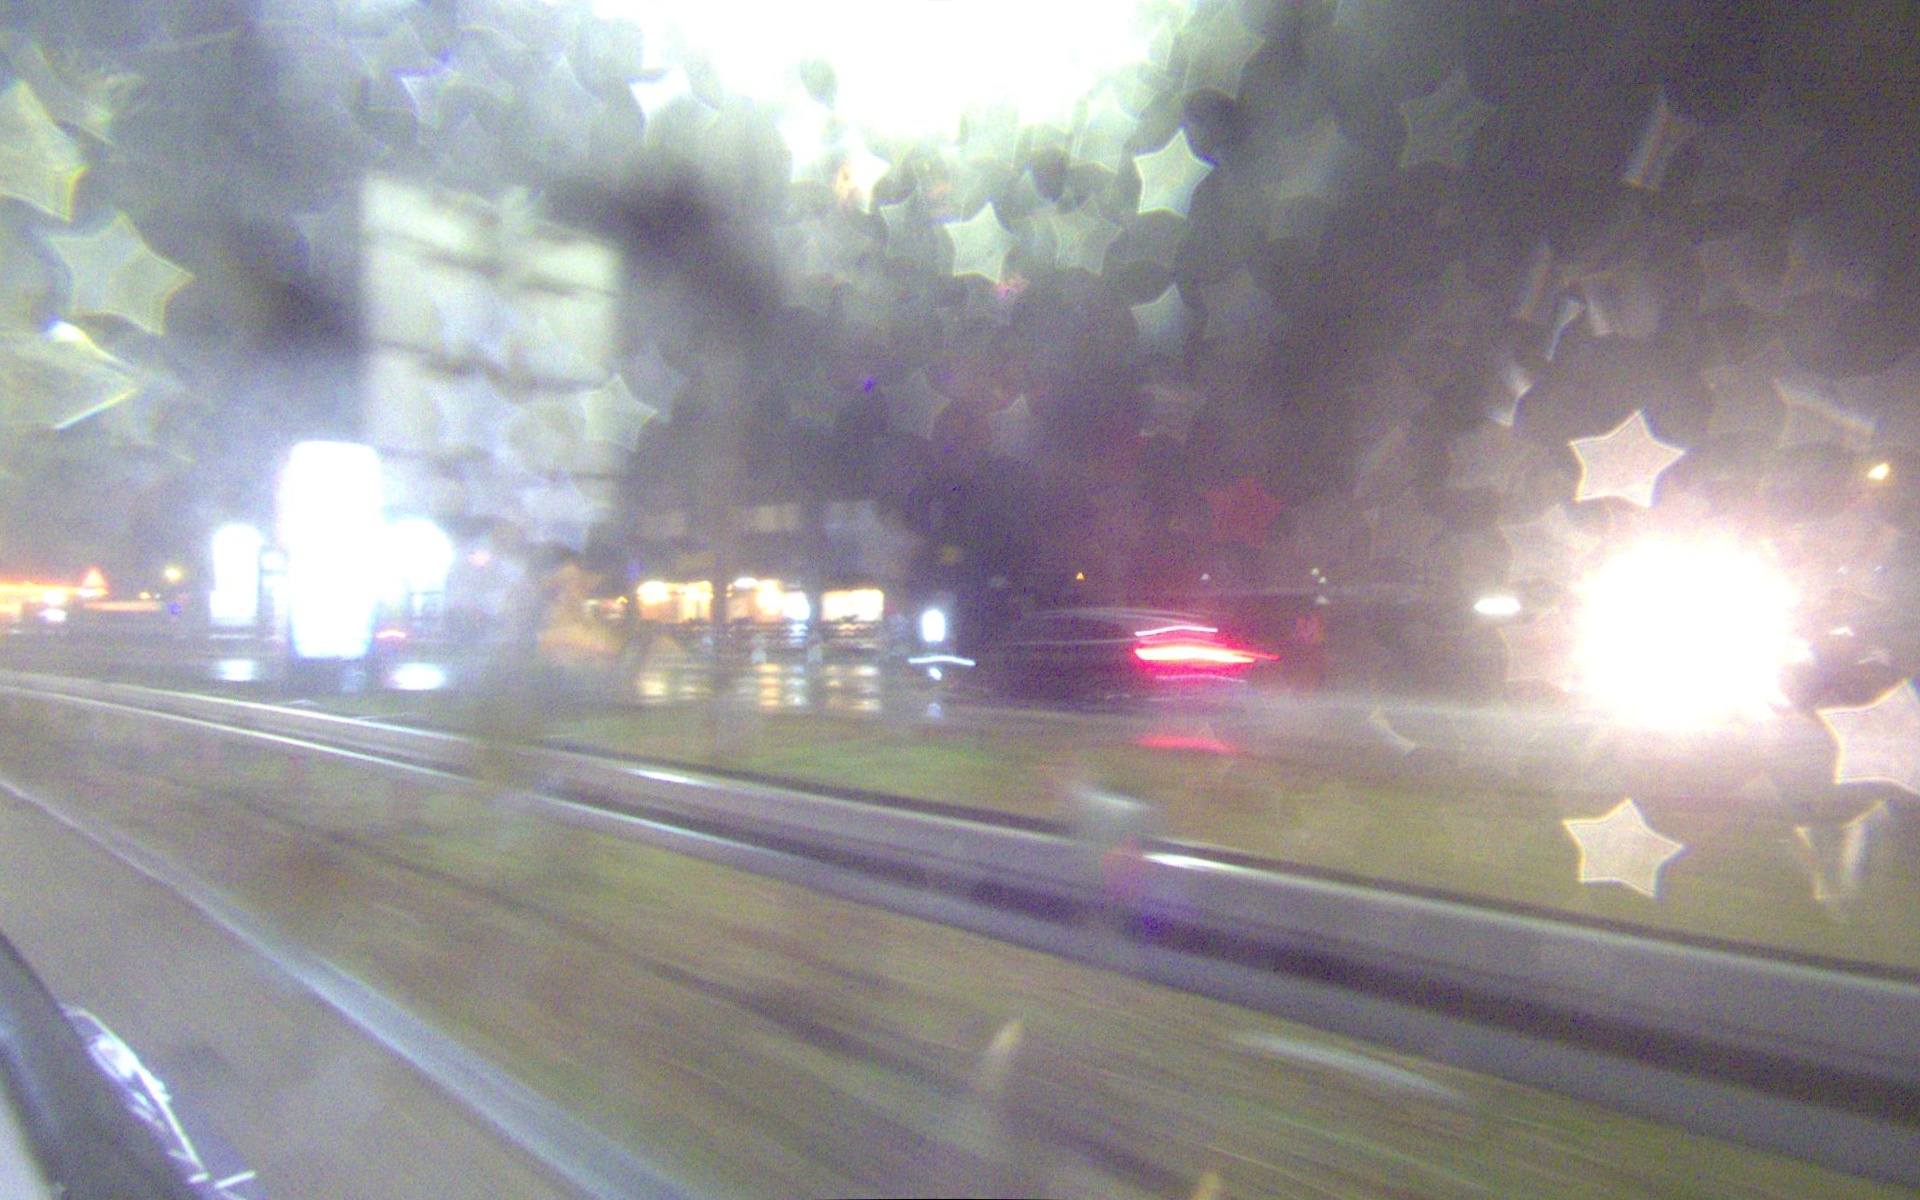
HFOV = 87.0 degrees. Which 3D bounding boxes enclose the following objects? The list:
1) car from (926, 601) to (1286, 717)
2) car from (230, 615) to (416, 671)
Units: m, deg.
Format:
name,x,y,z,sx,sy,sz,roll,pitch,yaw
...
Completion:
name,x,y,z,sx,sy,sz,roll,pitch,yaw
car,1.988,0.748,14.582,4.830,1.400,1.878,-1,0,36
car,-17.532,1.142,27.839,4.807,1.400,1.887,-1,0,22
